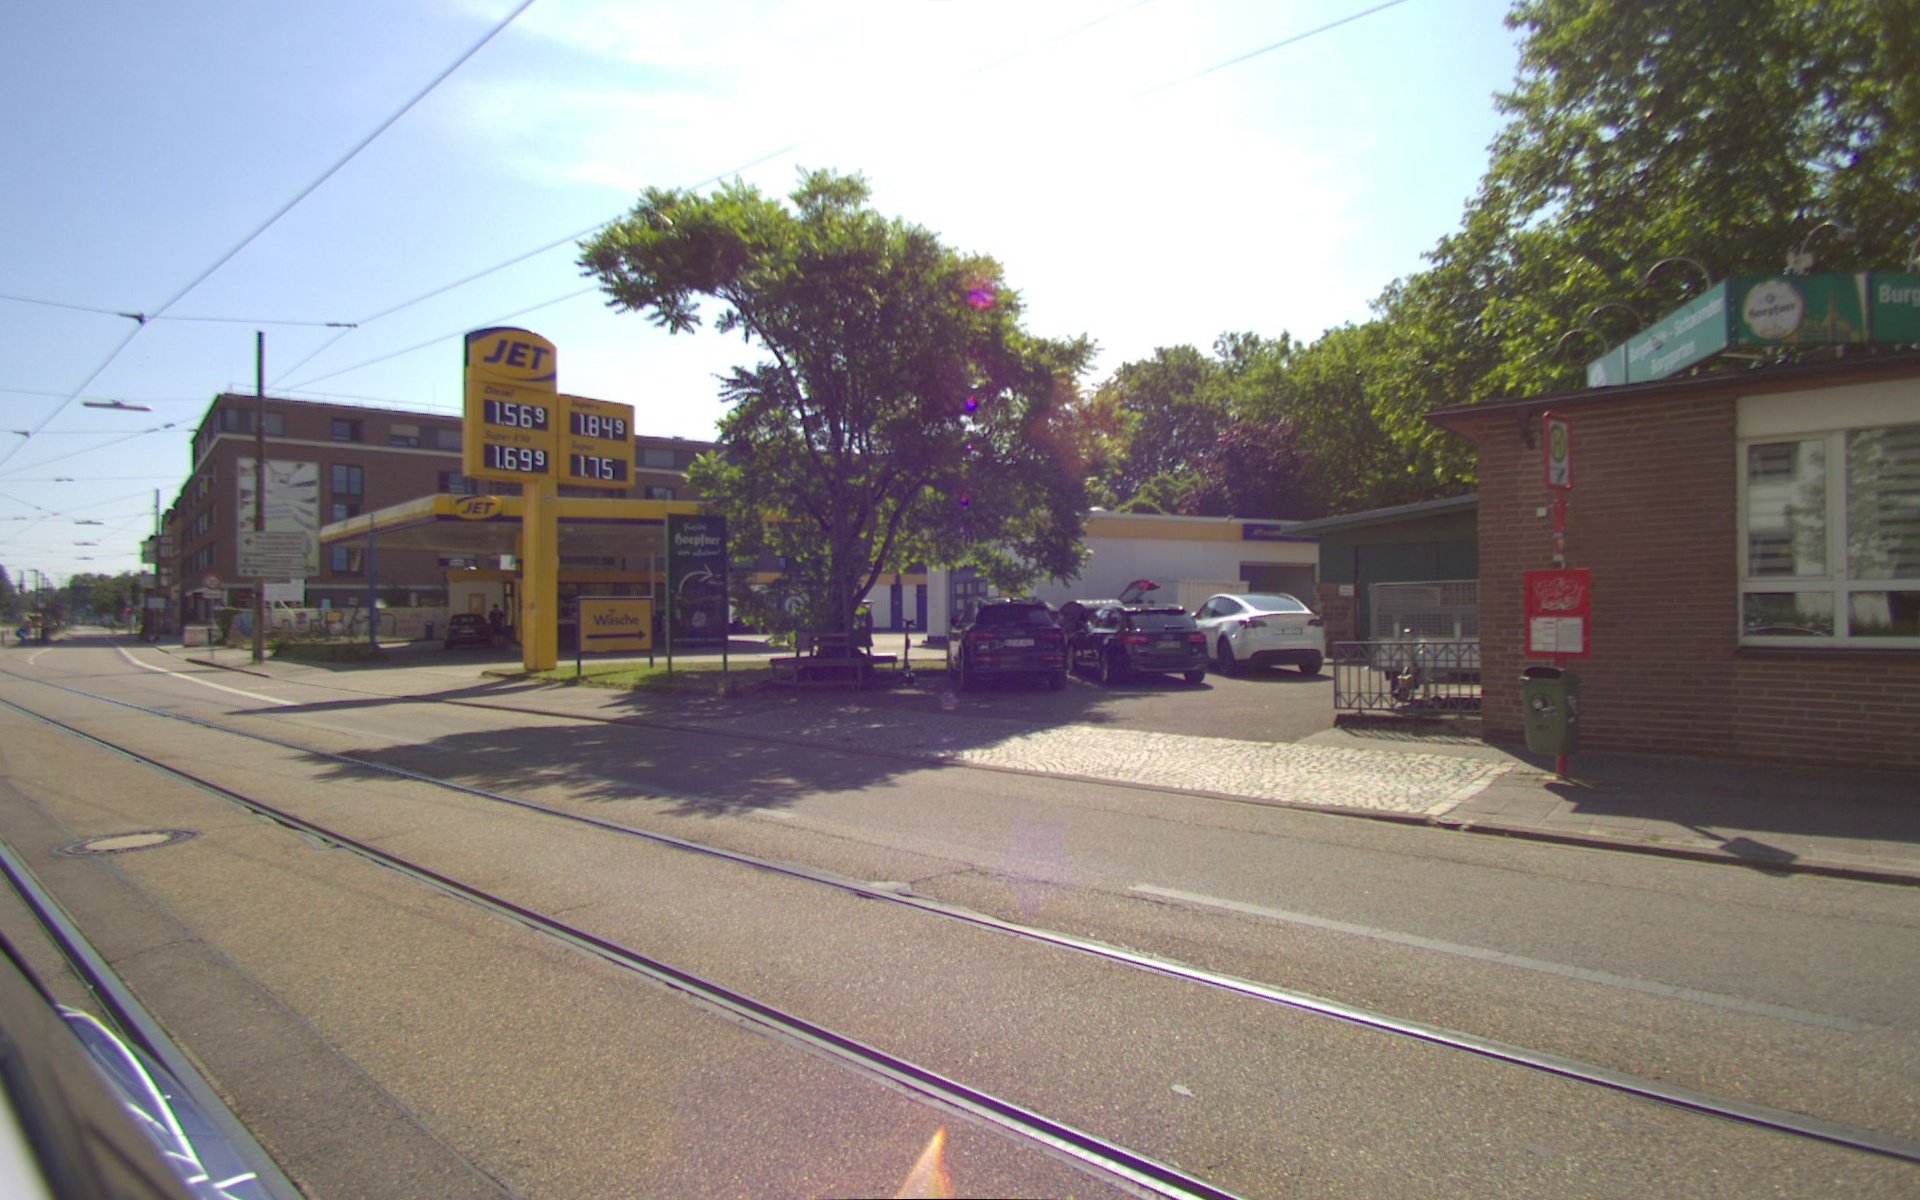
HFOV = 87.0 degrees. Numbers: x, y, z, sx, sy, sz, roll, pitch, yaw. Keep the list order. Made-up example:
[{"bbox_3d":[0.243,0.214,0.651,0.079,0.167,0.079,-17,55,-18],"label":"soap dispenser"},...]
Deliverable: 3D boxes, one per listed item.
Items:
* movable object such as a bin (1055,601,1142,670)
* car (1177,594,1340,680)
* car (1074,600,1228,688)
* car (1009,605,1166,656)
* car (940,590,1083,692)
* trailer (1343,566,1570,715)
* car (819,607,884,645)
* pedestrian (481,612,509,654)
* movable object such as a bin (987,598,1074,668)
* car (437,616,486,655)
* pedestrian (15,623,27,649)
[{"bbox_3d":[3.179,0.797,23.310,1.398,1.514,1.383,0,-1,-33],"label":"movable object such as a bin"},{"bbox_3d":[6.005,0.721,20.887,1.819,1.569,4.005,-1,-1,-5],"label":"car"},{"bbox_3d":[3.497,0.780,19.350,1.819,1.485,4.005,-1,-1,-5],"label":"car"},{"bbox_3d":[3.956,0.932,31.425,4.477,1.471,1.899,0,-2,-23],"label":"car"},{"bbox_3d":[0.805,0.707,19.032,1.989,1.653,4.665,-1,-1,-5],"label":"car"},{"bbox_3d":[6.299,0.451,12.708,1.723,1.615,3.239,-1,-1,42],"label":"trailer"},{"bbox_3d":[-6.155,1.443,56.698,1.731,1.997,5.324,0,-1,-28],"label":"car"},{"bbox_3d":[-19.474,1.364,42.413,0.745,1.738,0.846,-2,-2,44],"label":"pedestrian"},{"bbox_3d":[1.607,0.735,22.940,1.380,1.514,1.401,-2,-1,44],"label":"movable object such as a bin"},{"bbox_3d":[-21.240,1.533,43.226,1.731,1.466,4.423,-3,-1,-25],"label":"car"},{"bbox_3d":[-65.217,2.471,70.305,0.793,1.773,0.550,-1,-1,43],"label":"pedestrian"}]
